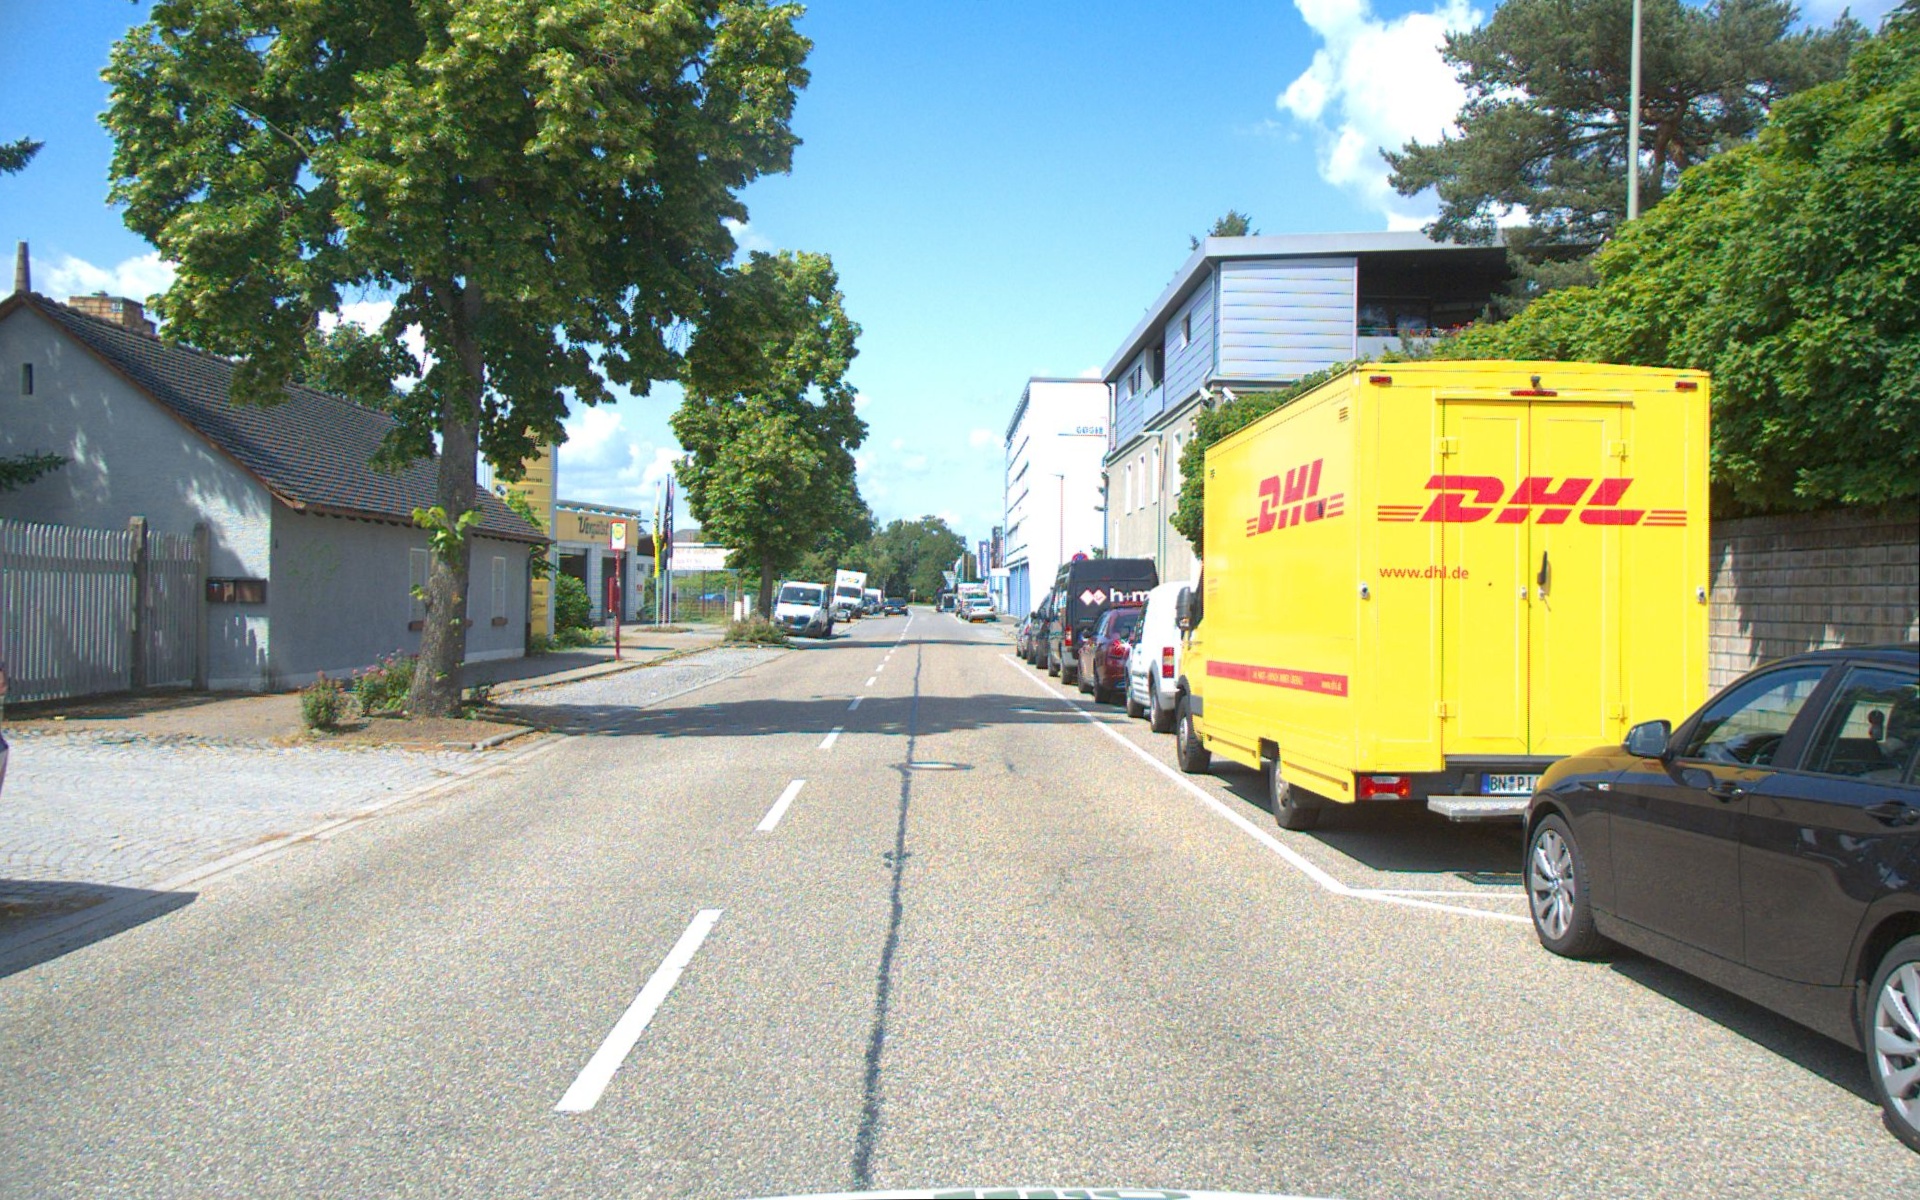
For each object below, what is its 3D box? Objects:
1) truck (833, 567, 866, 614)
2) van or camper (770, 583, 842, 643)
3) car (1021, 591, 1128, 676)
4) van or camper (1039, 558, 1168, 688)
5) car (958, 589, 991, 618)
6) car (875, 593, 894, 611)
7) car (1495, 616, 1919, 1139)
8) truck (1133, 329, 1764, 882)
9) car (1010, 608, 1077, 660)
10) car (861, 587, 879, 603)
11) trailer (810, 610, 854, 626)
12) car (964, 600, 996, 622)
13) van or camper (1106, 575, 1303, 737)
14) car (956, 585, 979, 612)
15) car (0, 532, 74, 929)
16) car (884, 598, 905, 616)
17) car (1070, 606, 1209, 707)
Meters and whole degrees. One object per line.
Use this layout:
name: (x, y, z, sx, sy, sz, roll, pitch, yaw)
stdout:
truck: (-7.763, -0.646, 116.839, 1.988, 3.209, 6.498, 0, 0, -1)
van or camper: (-6.661, 0.532, 72.505, 2.128, 2.455, 7.699, 1, 0, 2)
car: (2.640, 0.737, 39.272, 1.921, 1.812, 4.952, 2, 0, -3)
van or camper: (2.786, 0.420, 33.310, 1.953, 2.331, 5.446, 2, 0, -1)
car: (1.010, 0.248, 118.967, 2.171, 2.049, 5.484, 0, 0, -1)
car: (-7.215, 0.161, 157.548, 1.678, 1.679, 3.999, 0, 0, -1)
car: (3.522, 0.822, 5.959, 1.629, 1.466, 4.281, 1, 0, -3)
truck: (3.108, 0.034, 12.788, 2.425, 2.991, 7.185, 2, 0, -2)
car: (2.281, 0.917, 46.093, 1.596, 1.377, 3.922, 0, 0, -1)
car: (-10.576, -0.566, 195.054, 1.953, 1.847, 3.999, 0, 0, -1)
trailer: (-7.894, 1.101, 102.662, 2.368, 0.828, 5.536, 3, 0, -1)
car: (1.250, 0.670, 105.085, 1.889, 1.333, 3.999, 0, 0, -1)
van or camper: (3.093, 0.658, 22.051, 1.723, 1.837, 5.586, 1, 0, -1)
car: (0.556, -0.130, 129.266, 1.673, 2.126, 3.999, 0, 0, -2)
car: (-5.435, 0.594, 5.913, 1.879, 1.854, 4.785, 1, 0, 1)
car: (-5.201, 0.532, 131.527, 1.621, 1.348, 4.415, 0, 0, -1)
car: (2.856, 0.859, 27.187, 1.647, 1.467, 4.765, 1, 0, -1)
